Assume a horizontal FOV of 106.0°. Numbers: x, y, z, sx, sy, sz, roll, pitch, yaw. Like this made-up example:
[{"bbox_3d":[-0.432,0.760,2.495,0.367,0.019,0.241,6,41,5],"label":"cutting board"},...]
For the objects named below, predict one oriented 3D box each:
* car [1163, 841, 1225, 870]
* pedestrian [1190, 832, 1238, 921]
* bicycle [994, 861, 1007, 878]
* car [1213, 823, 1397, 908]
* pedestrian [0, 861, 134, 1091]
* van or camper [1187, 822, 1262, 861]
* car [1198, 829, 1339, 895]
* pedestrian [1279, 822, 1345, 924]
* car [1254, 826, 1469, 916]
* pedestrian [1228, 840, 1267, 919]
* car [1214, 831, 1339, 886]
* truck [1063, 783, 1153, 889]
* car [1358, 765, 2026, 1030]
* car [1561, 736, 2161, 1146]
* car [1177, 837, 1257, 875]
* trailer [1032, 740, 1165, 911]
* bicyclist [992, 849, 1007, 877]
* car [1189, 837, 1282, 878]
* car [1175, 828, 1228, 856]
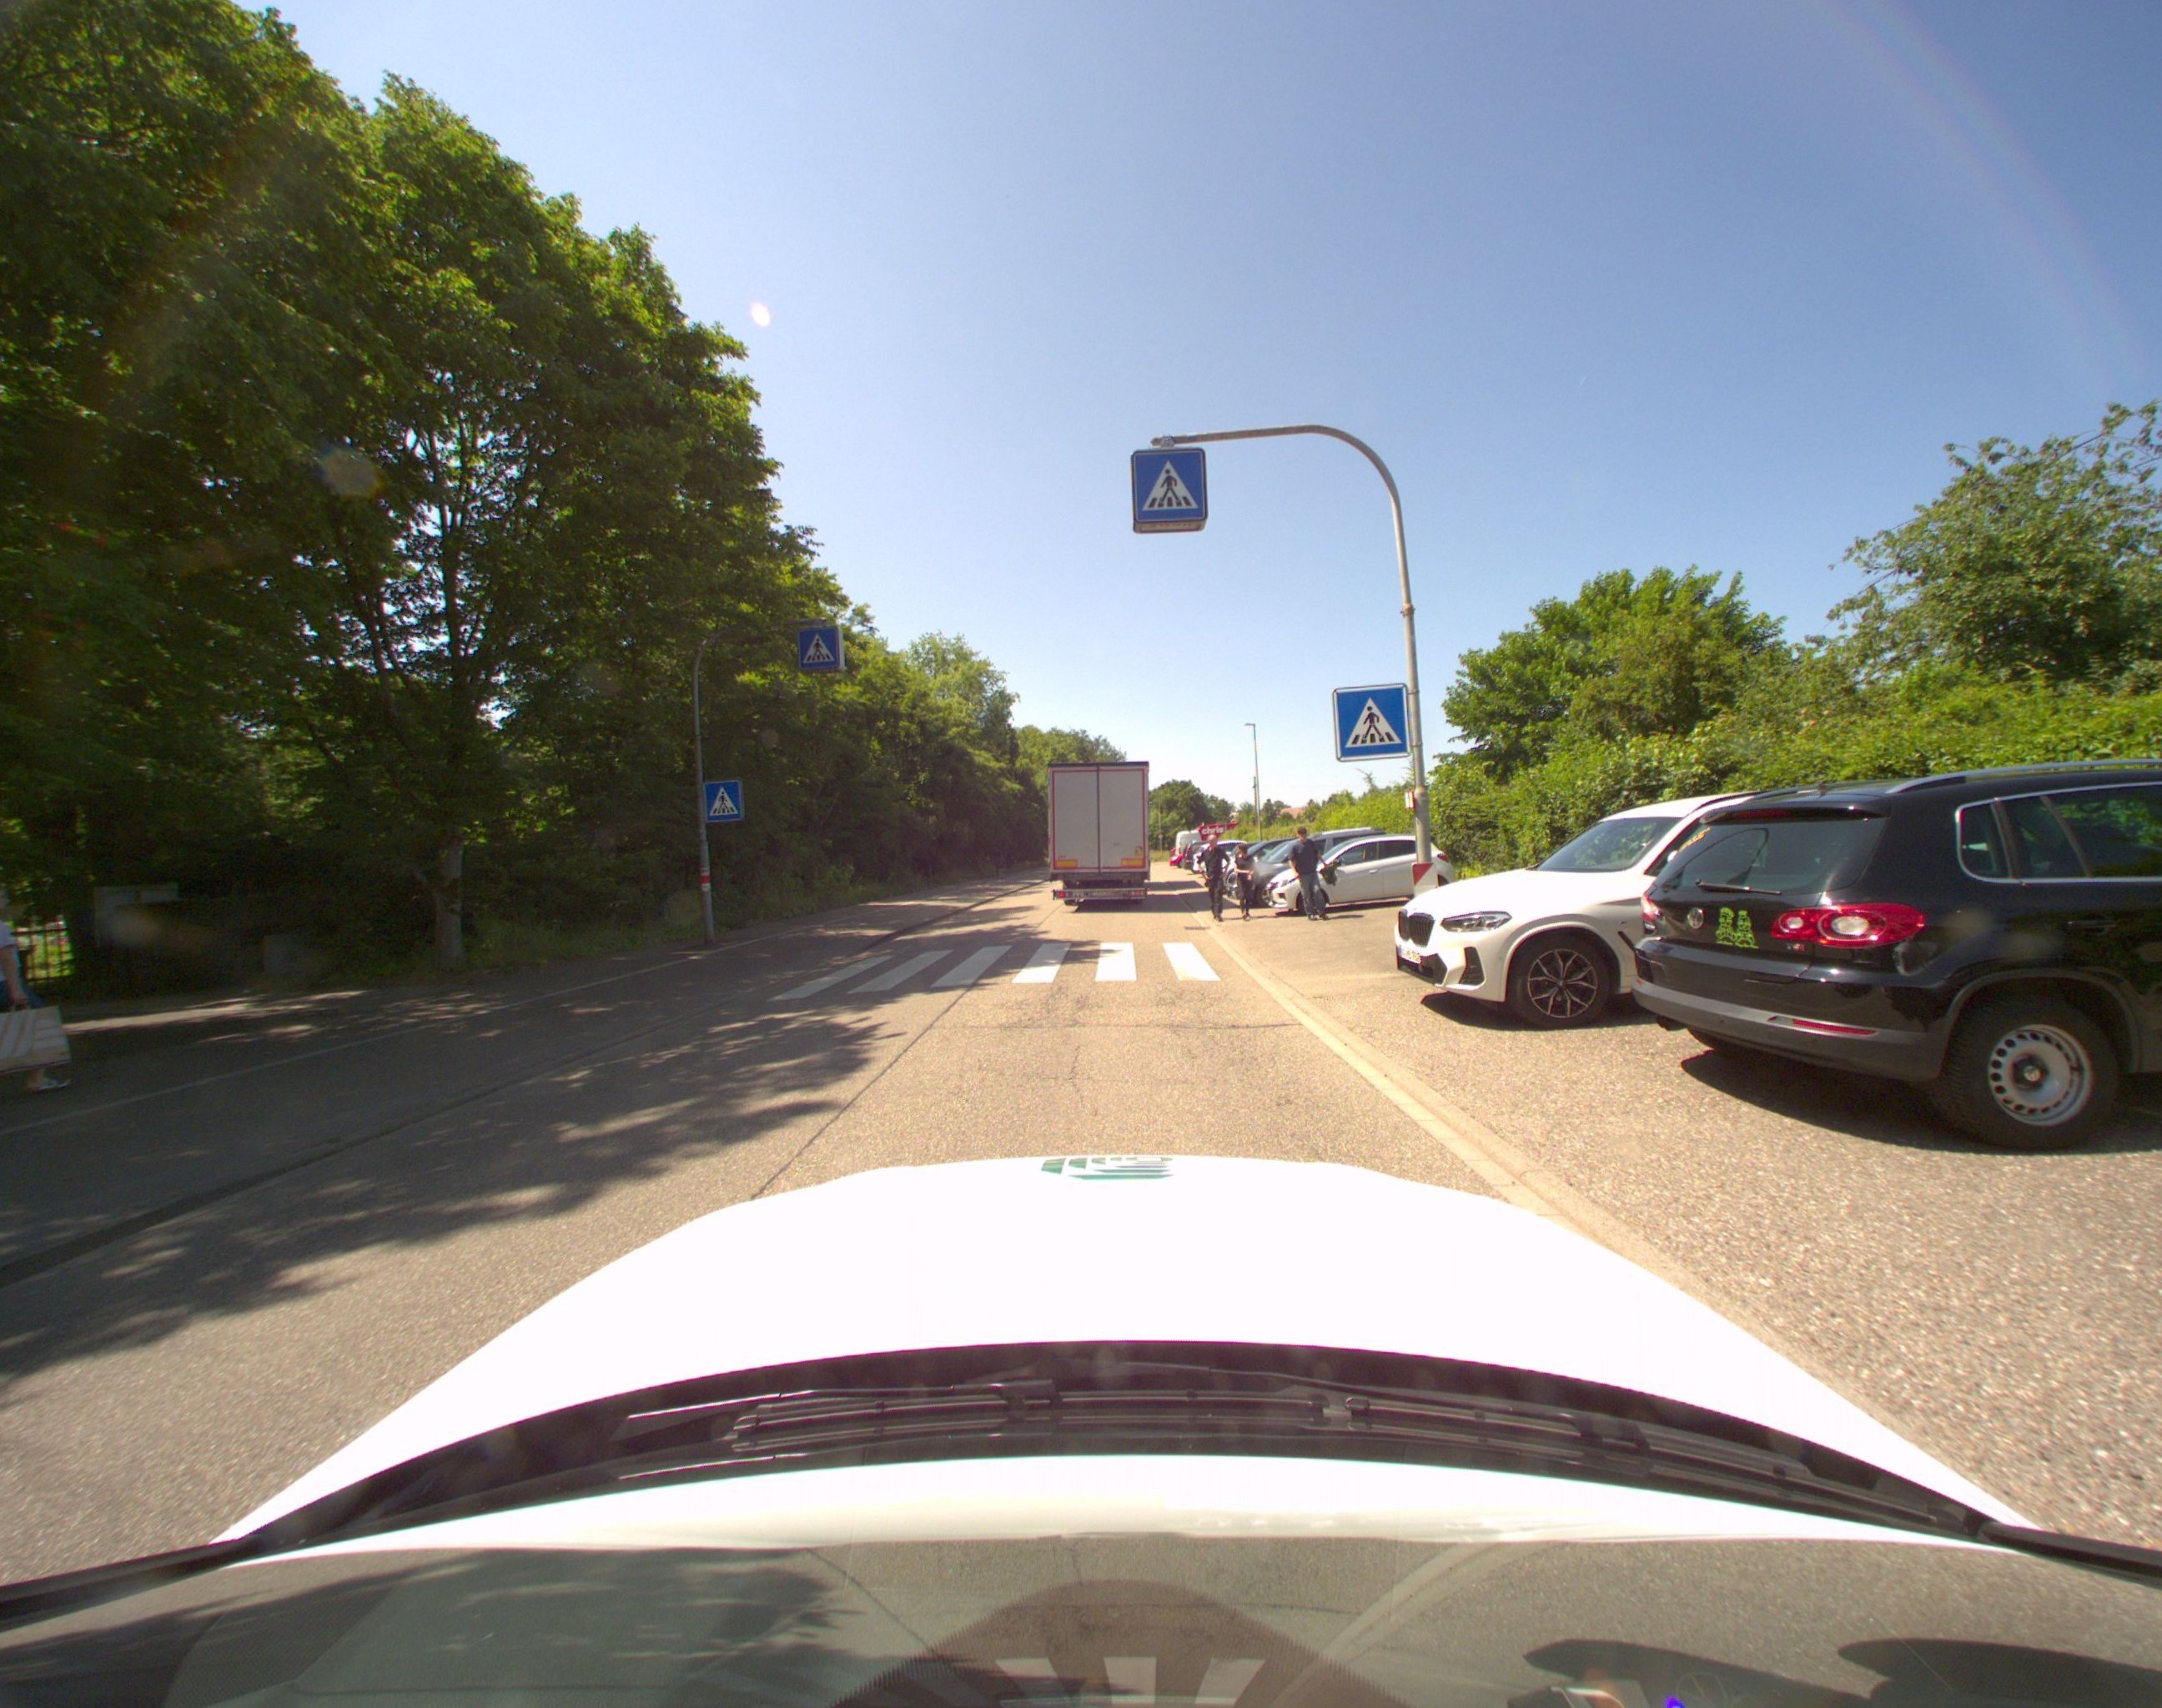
[{"bbox_3d":[7.976,0.101,57.631,3.947,1.668,1.812,-5,-1,-3],"label":"car"},{"bbox_3d":[2.895,0.478,17.778,0.817,1.834,0.794,-6,-1,6],"label":"pedestrian"},{"bbox_3d":[-5.120,0.992,51.960,0.452,1.047,2.205,-2,0,3],"label":"bicycle"},{"bbox_3d":[5.505,0.272,20.338,3.950,1.668,1.810,-5,-1,-5],"label":"car"},{"bbox_3d":[-8.060,0.877,6.169,0.826,1.622,0.783,-1,0,-1],"label":"pedestrian"},{"bbox_3d":[14.389,-1.241,81.485,6.994,3.587,2.784,-2,0,14],"label":"van or camper"},{"bbox_3d":[5.934,0.210,26.040,3.952,1.668,1.810,-5,2,-7],"label":"car"},{"bbox_3d":[4.362,0.349,15.464,0.903,1.798,0.937,-6,-1,6],"label":"pedestrian"},{"bbox_3d":[5.864,0.347,17.450,3.937,1.480,1.816,-5,-1,5],"label":"car"},{"bbox_3d":[3.544,0.533,17.381,0.586,1.615,0.746,-6,-1,6],"label":"pedestrian"},{"bbox_3d":[7.015,0.172,29.433,3.952,1.586,1.809,-5,-1,-7],"label":"car"},{"bbox_3d":[1.176,-0.660,32.763,3.101,3.725,6.419,-3,0,3],"label":"truck"},{"bbox_3d":[4.974,0.327,7.104,4.392,1.698,1.876,-4,-1,-2],"label":"car"},{"bbox_3d":[5.259,0.286,4.420,4.111,1.657,1.887,-4,0,1],"label":"car"},{"bbox_3d":[7.399,0.101,44.673,3.947,1.765,1.812,-5,0,-3],"label":"car"},{"bbox_3d":[0.766,-0.719,25.948,3.099,4.102,11.547,-3,0,3],"label":"trailer"},{"bbox_3d":[-5.176,0.588,51.731,0.713,1.758,0.797,-2,-1,5],"label":"bicyclist"},{"bbox_3d":[7.251,0.170,38.517,3.947,1.618,1.812,-4,0,-3],"label":"car"},{"bbox_3d":[9.640,-0.961,65.390,3.939,1.798,1.815,-5,-3,3],"label":"car"}]
